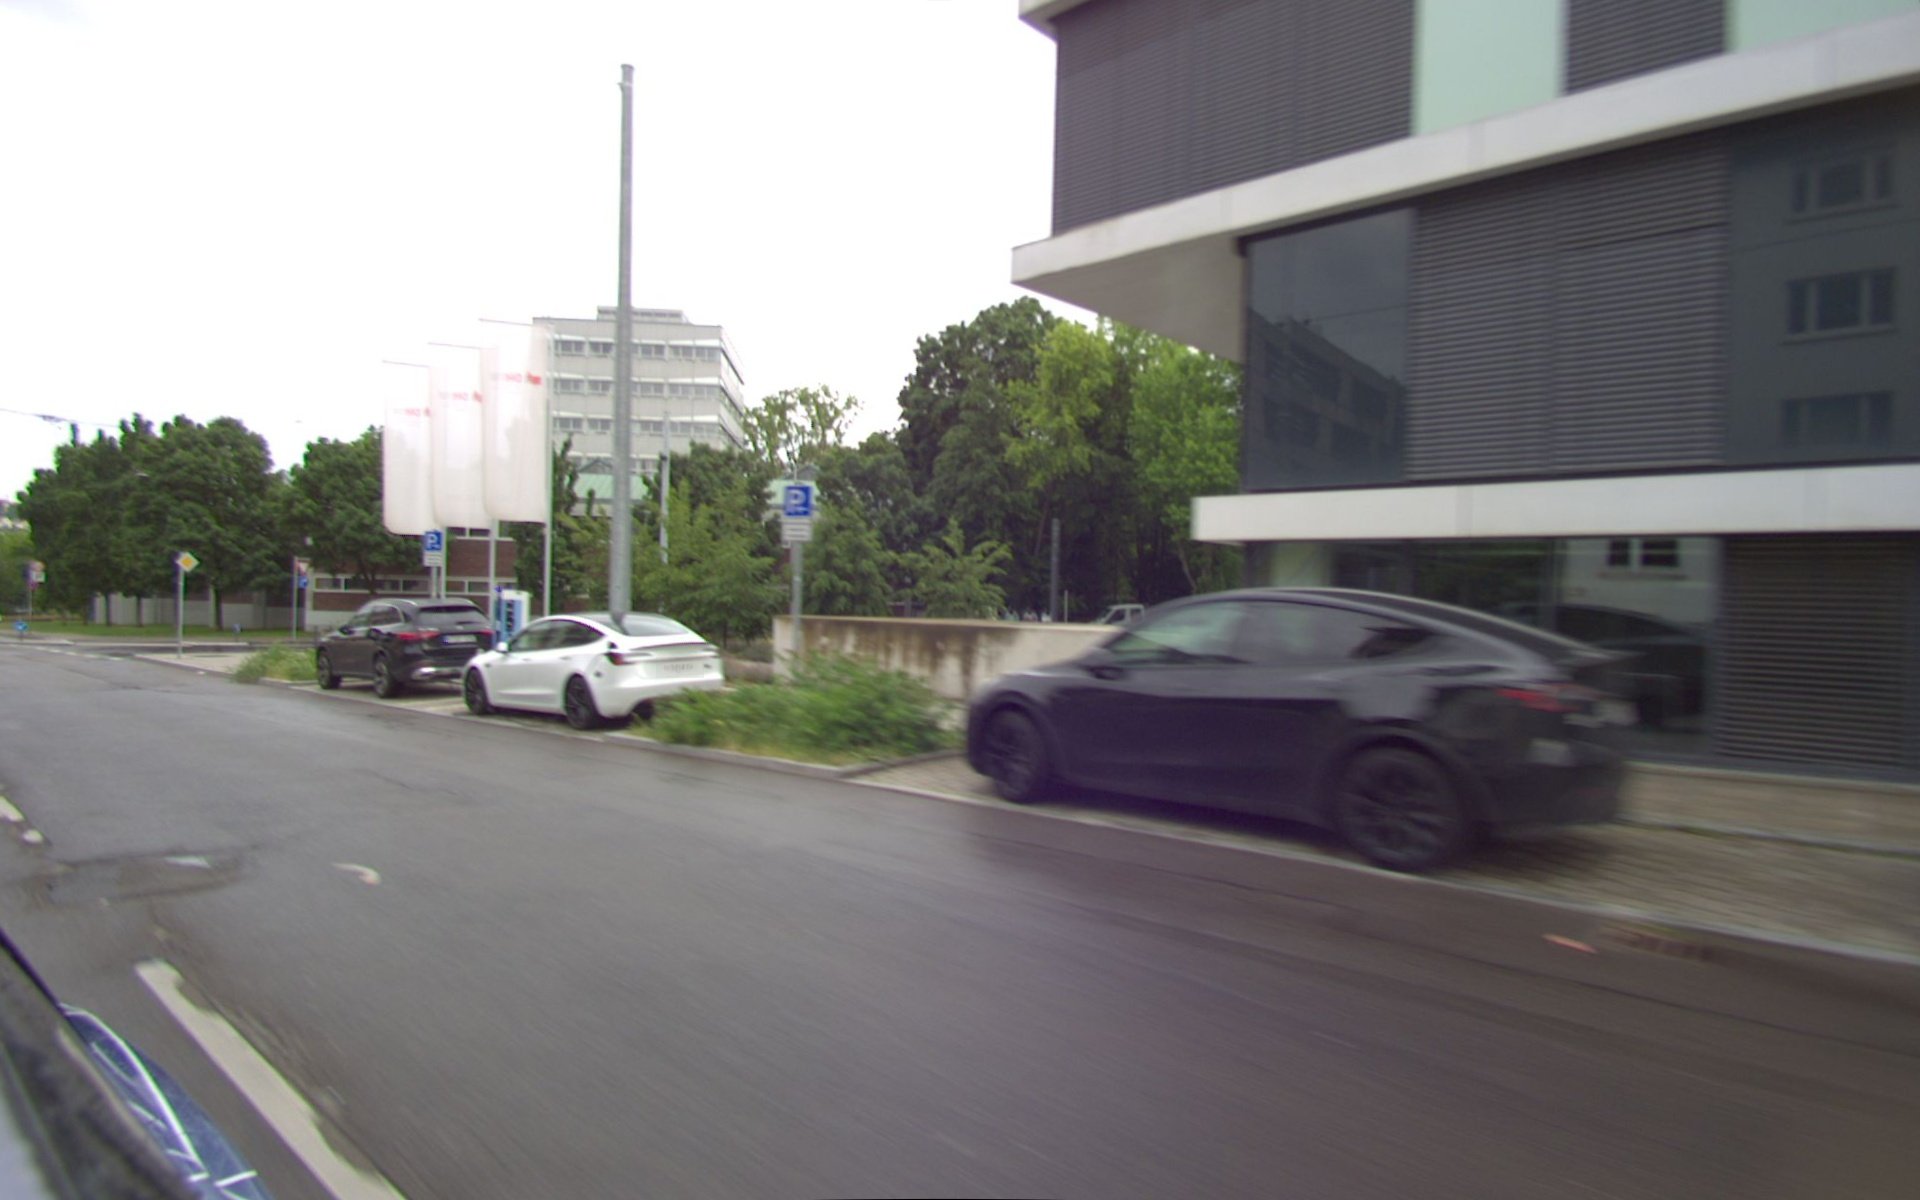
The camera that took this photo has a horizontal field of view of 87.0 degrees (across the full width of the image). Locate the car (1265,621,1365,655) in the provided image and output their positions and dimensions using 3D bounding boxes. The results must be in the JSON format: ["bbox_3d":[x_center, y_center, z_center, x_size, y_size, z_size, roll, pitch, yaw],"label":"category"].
[{"bbox_3d":[15.705,1.679,44.883,3.814,1.461,1.669,0,0,0],"label":"car"}]

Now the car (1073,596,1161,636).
[{"bbox_3d":[8.210,0.825,53.282,4.217,2.058,2.078,0,0,-2],"label":"car"}]

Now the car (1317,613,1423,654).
[{"bbox_3d":[21.856,1.762,54.043,4.761,2.112,2.173,0,0,-8],"label":"car"}]

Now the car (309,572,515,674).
[{"bbox_3d":[-9.941,0.362,18.200,4.489,1.630,1.830,0,0,41],"label":"car"}]

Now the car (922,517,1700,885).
[{"bbox_3d":[2.138,0.462,7.271,4.943,1.763,1.941,1,1,43],"label":"car"}]

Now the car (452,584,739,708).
[{"bbox_3d":[-5.071,0.529,13.768,4.400,1.429,1.802,0,0,41],"label":"car"}]
